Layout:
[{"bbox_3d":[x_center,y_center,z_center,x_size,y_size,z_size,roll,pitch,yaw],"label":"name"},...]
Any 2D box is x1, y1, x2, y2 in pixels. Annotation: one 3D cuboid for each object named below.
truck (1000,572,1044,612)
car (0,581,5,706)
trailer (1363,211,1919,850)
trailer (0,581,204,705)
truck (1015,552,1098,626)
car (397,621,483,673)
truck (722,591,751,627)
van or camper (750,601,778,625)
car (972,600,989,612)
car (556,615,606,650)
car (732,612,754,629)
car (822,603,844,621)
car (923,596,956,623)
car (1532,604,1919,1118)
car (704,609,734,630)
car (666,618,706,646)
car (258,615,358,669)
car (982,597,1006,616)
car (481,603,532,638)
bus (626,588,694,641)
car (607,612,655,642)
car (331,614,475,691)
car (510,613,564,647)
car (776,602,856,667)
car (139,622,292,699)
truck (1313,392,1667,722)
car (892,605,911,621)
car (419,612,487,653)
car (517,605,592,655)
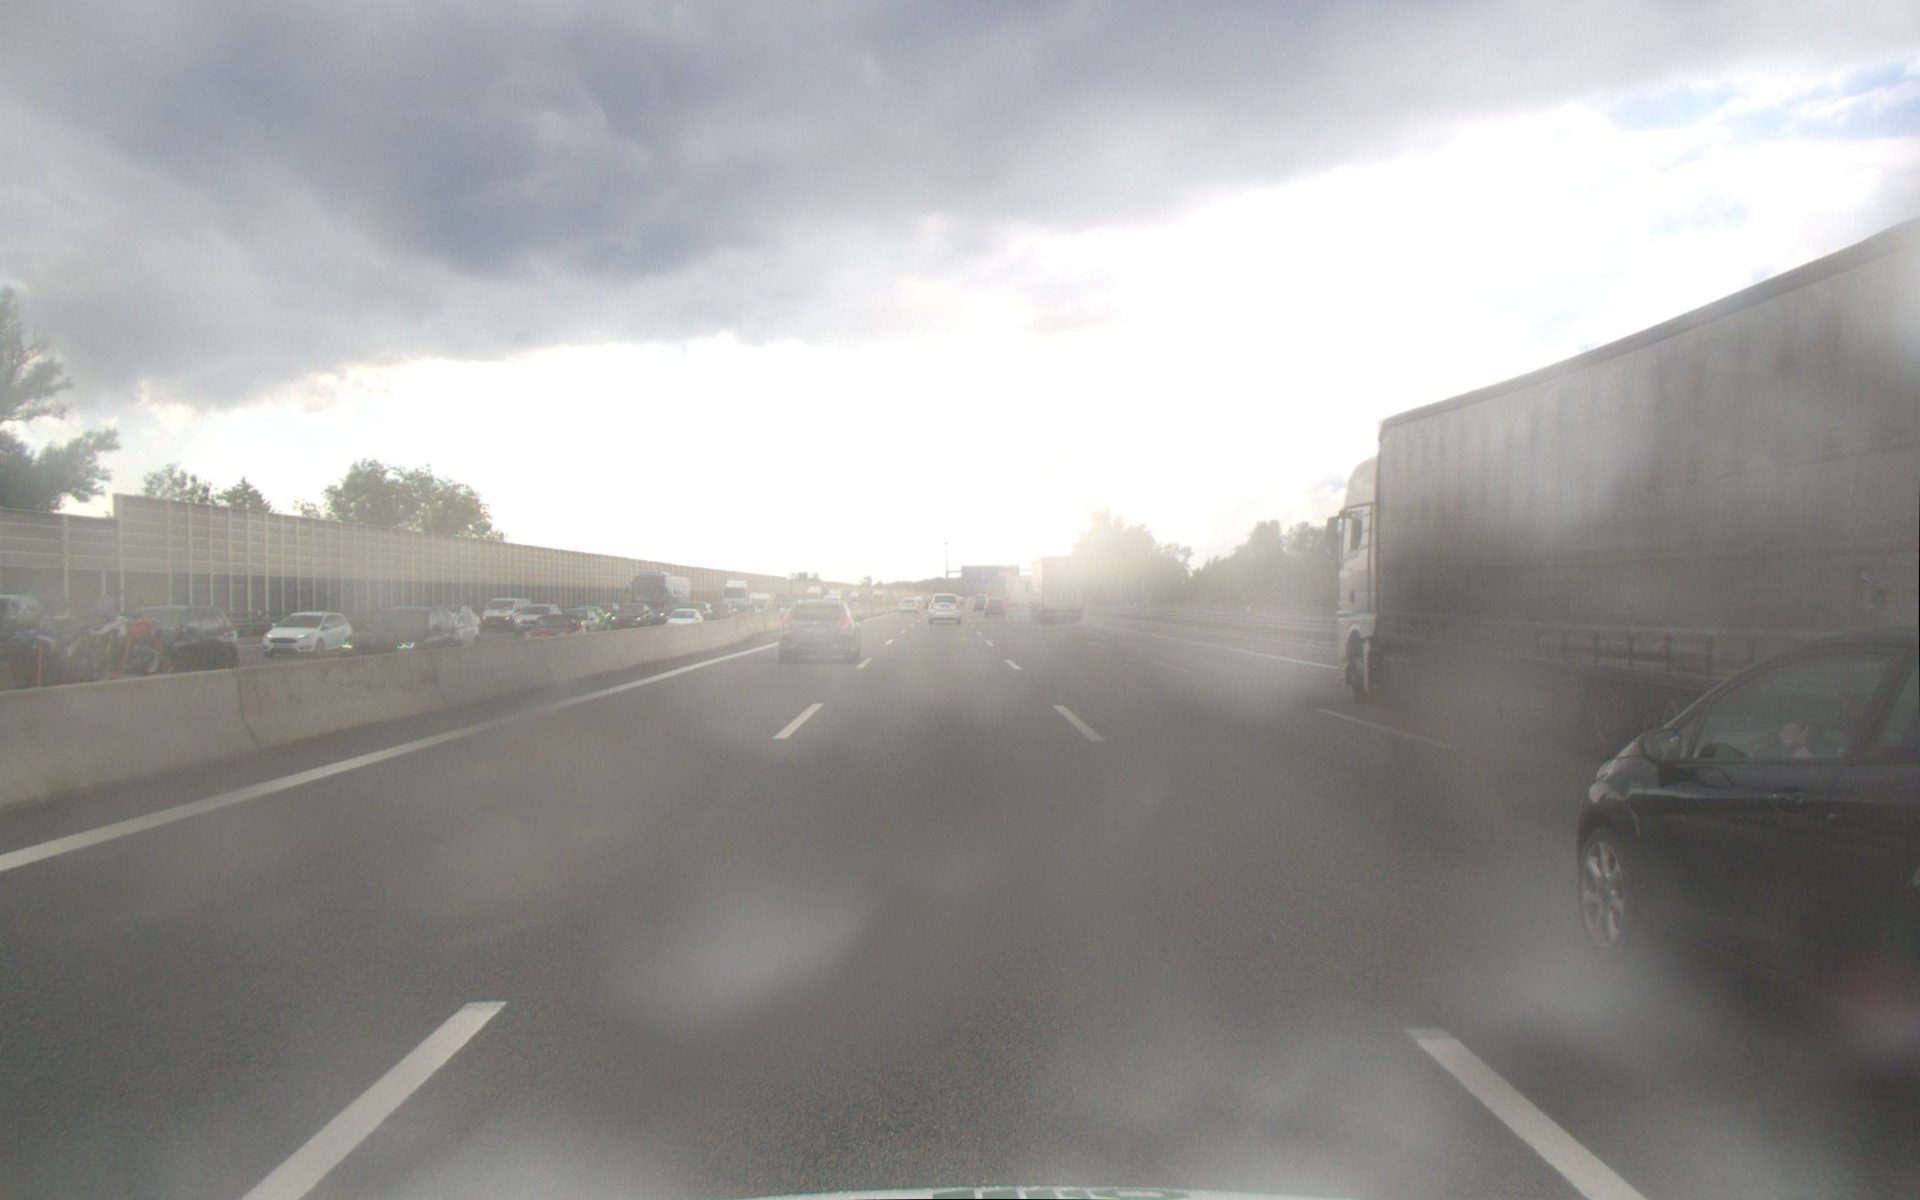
[{"bbox_3d":[6.815,-0.855,184.343,4.158,4.249,11.986,1,0,-1],"label":"truck"},{"bbox_3d":[-14.255,0.610,20.766,1.779,1.739,4.806,0,0,-1],"label":"car"},{"bbox_3d":[7.492,-0.493,17.255,2.901,4.090,14.116,1,0,-1],"label":"trailer"},{"bbox_3d":[-14.400,0.621,26.214,2.100,1.739,6.045,0,0,-1],"label":"trailer"},{"bbox_3d":[6.034,-0.712,105.846,4.096,4.363,12.608,1,0,-2],"label":"truck"},{"bbox_3d":[-18.036,1.604,57.513,1.712,1.659,4.165,0,0,-1],"label":"car"},{"bbox_3d":[-25.594,0.990,189.407,2.524,4.004,5.177,1,0,0],"label":"truck"},{"bbox_3d":[-21.922,1.418,185.397,2.296,2.687,7.149,0,0,0],"label":"van or camper"},{"bbox_3d":[2.427,0.703,196.130,1.798,1.466,4.054,1,0,-2],"label":"car"},{"bbox_3d":[-18.557,1.583,81.137,1.587,1.607,3.619,0,0,0],"label":"car"},{"bbox_3d":[-21.854,2.052,166.786,1.712,1.552,4.177,0,0,0],"label":"car"},{"bbox_3d":[-14.875,1.381,193.463,2.115,2.107,6.014,0,0,0],"label":"car"},{"bbox_3d":[-1.226,0.547,97.705,1.737,1.466,4.053,1,0,-3],"label":"car"},{"bbox_3d":[3.458,0.761,6.302,1.417,1.466,3.163,0,0,-1],"label":"car"},{"bbox_3d":[-18.671,1.500,128.458,1.712,1.552,4.177,0,0,0],"label":"car"},{"bbox_3d":[-14.638,1.714,88.538,1.539,1.418,3.575,0,0,0],"label":"car"},{"bbox_3d":[-21.678,1.366,55.138,1.712,1.659,4.390,0,0,-2],"label":"car"},{"bbox_3d":[2.797,0.539,137.721,1.798,1.466,4.054,1,0,-2],"label":"car"},{"bbox_3d":[-26.109,1.170,95.393,1.712,1.926,4.781,0,0,-1],"label":"car"},{"bbox_3d":[-22.578,1.009,125.143,3.029,3.824,11.881,0,0,0],"label":"bus"},{"bbox_3d":[-18.935,1.522,95.320,1.895,1.639,4.177,0,0,0],"label":"car"},{"bbox_3d":[-14.062,1.267,42.086,1.842,1.775,5.110,0,0,1],"label":"car"},{"bbox_3d":[-22.025,1.543,86.280,1.712,1.639,4.177,0,0,0],"label":"car"},{"bbox_3d":[-3.406,0.771,39.702,1.725,1.393,5.057,1,0,-3],"label":"car"},{"bbox_3d":[-17.709,1.405,39.544,1.711,1.659,4.166,0,0,1],"label":"car"},{"bbox_3d":[7.344,-0.561,23.993,2.901,4.090,6.587,1,0,-1],"label":"truck"},{"bbox_3d":[-5.648,1.202,159.395,1.737,1.466,3.872,1,0,-3],"label":"car"},{"bbox_3d":[-22.058,1.376,72.123,1.712,1.659,4.642,0,0,-2],"label":"car"},{"bbox_3d":[-14.211,1.030,58.119,1.712,1.659,3.747,0,0,0],"label":"car"}]
